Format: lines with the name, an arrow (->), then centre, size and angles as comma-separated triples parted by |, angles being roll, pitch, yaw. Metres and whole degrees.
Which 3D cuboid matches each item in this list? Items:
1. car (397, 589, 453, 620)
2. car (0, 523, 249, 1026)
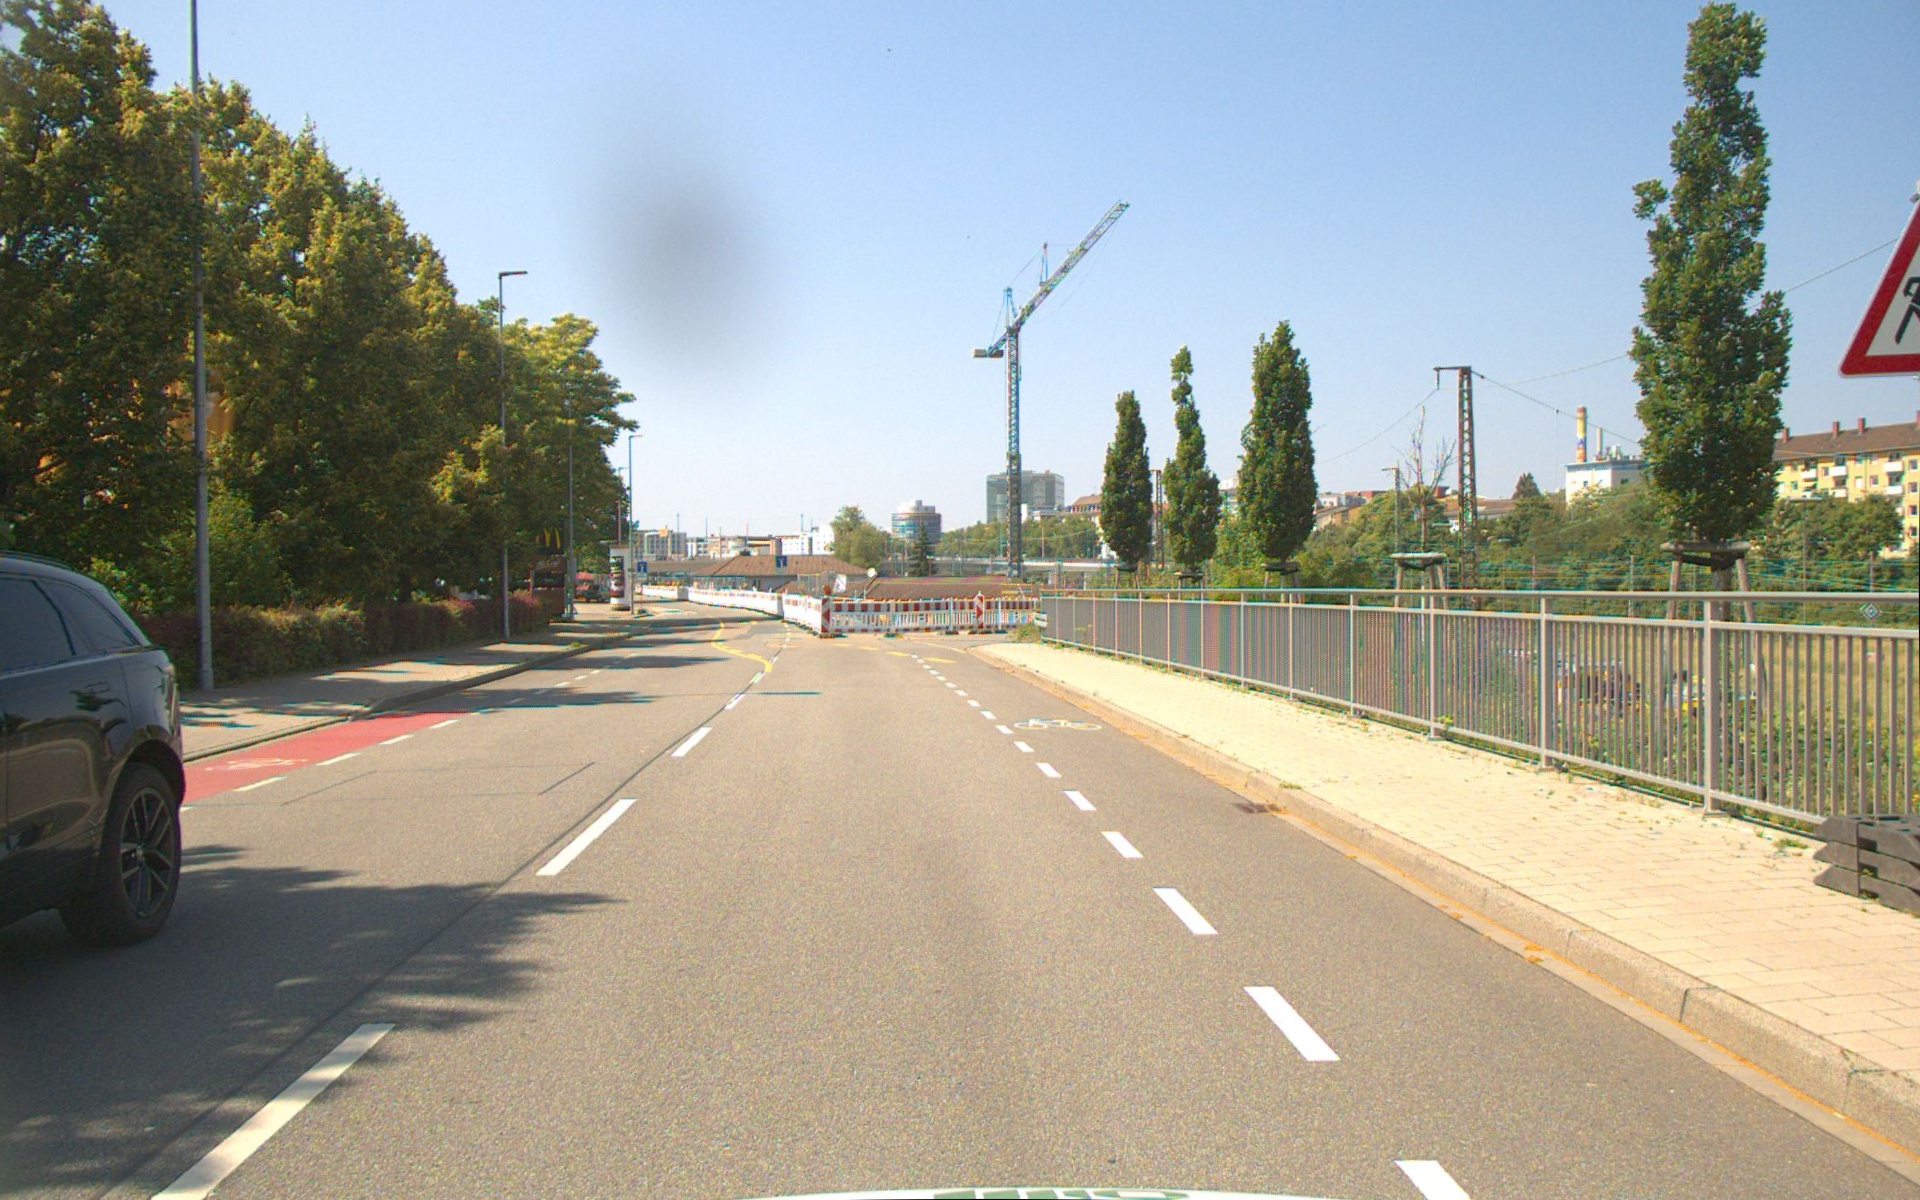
car -> -35.050, 0.293, 108.343 | 1.986, 1.937, 3.934 | -1, 0, -45
car -> -4.258, 0.617, 5.569 | 1.911, 1.725, 4.610 | -1, 1, -3
